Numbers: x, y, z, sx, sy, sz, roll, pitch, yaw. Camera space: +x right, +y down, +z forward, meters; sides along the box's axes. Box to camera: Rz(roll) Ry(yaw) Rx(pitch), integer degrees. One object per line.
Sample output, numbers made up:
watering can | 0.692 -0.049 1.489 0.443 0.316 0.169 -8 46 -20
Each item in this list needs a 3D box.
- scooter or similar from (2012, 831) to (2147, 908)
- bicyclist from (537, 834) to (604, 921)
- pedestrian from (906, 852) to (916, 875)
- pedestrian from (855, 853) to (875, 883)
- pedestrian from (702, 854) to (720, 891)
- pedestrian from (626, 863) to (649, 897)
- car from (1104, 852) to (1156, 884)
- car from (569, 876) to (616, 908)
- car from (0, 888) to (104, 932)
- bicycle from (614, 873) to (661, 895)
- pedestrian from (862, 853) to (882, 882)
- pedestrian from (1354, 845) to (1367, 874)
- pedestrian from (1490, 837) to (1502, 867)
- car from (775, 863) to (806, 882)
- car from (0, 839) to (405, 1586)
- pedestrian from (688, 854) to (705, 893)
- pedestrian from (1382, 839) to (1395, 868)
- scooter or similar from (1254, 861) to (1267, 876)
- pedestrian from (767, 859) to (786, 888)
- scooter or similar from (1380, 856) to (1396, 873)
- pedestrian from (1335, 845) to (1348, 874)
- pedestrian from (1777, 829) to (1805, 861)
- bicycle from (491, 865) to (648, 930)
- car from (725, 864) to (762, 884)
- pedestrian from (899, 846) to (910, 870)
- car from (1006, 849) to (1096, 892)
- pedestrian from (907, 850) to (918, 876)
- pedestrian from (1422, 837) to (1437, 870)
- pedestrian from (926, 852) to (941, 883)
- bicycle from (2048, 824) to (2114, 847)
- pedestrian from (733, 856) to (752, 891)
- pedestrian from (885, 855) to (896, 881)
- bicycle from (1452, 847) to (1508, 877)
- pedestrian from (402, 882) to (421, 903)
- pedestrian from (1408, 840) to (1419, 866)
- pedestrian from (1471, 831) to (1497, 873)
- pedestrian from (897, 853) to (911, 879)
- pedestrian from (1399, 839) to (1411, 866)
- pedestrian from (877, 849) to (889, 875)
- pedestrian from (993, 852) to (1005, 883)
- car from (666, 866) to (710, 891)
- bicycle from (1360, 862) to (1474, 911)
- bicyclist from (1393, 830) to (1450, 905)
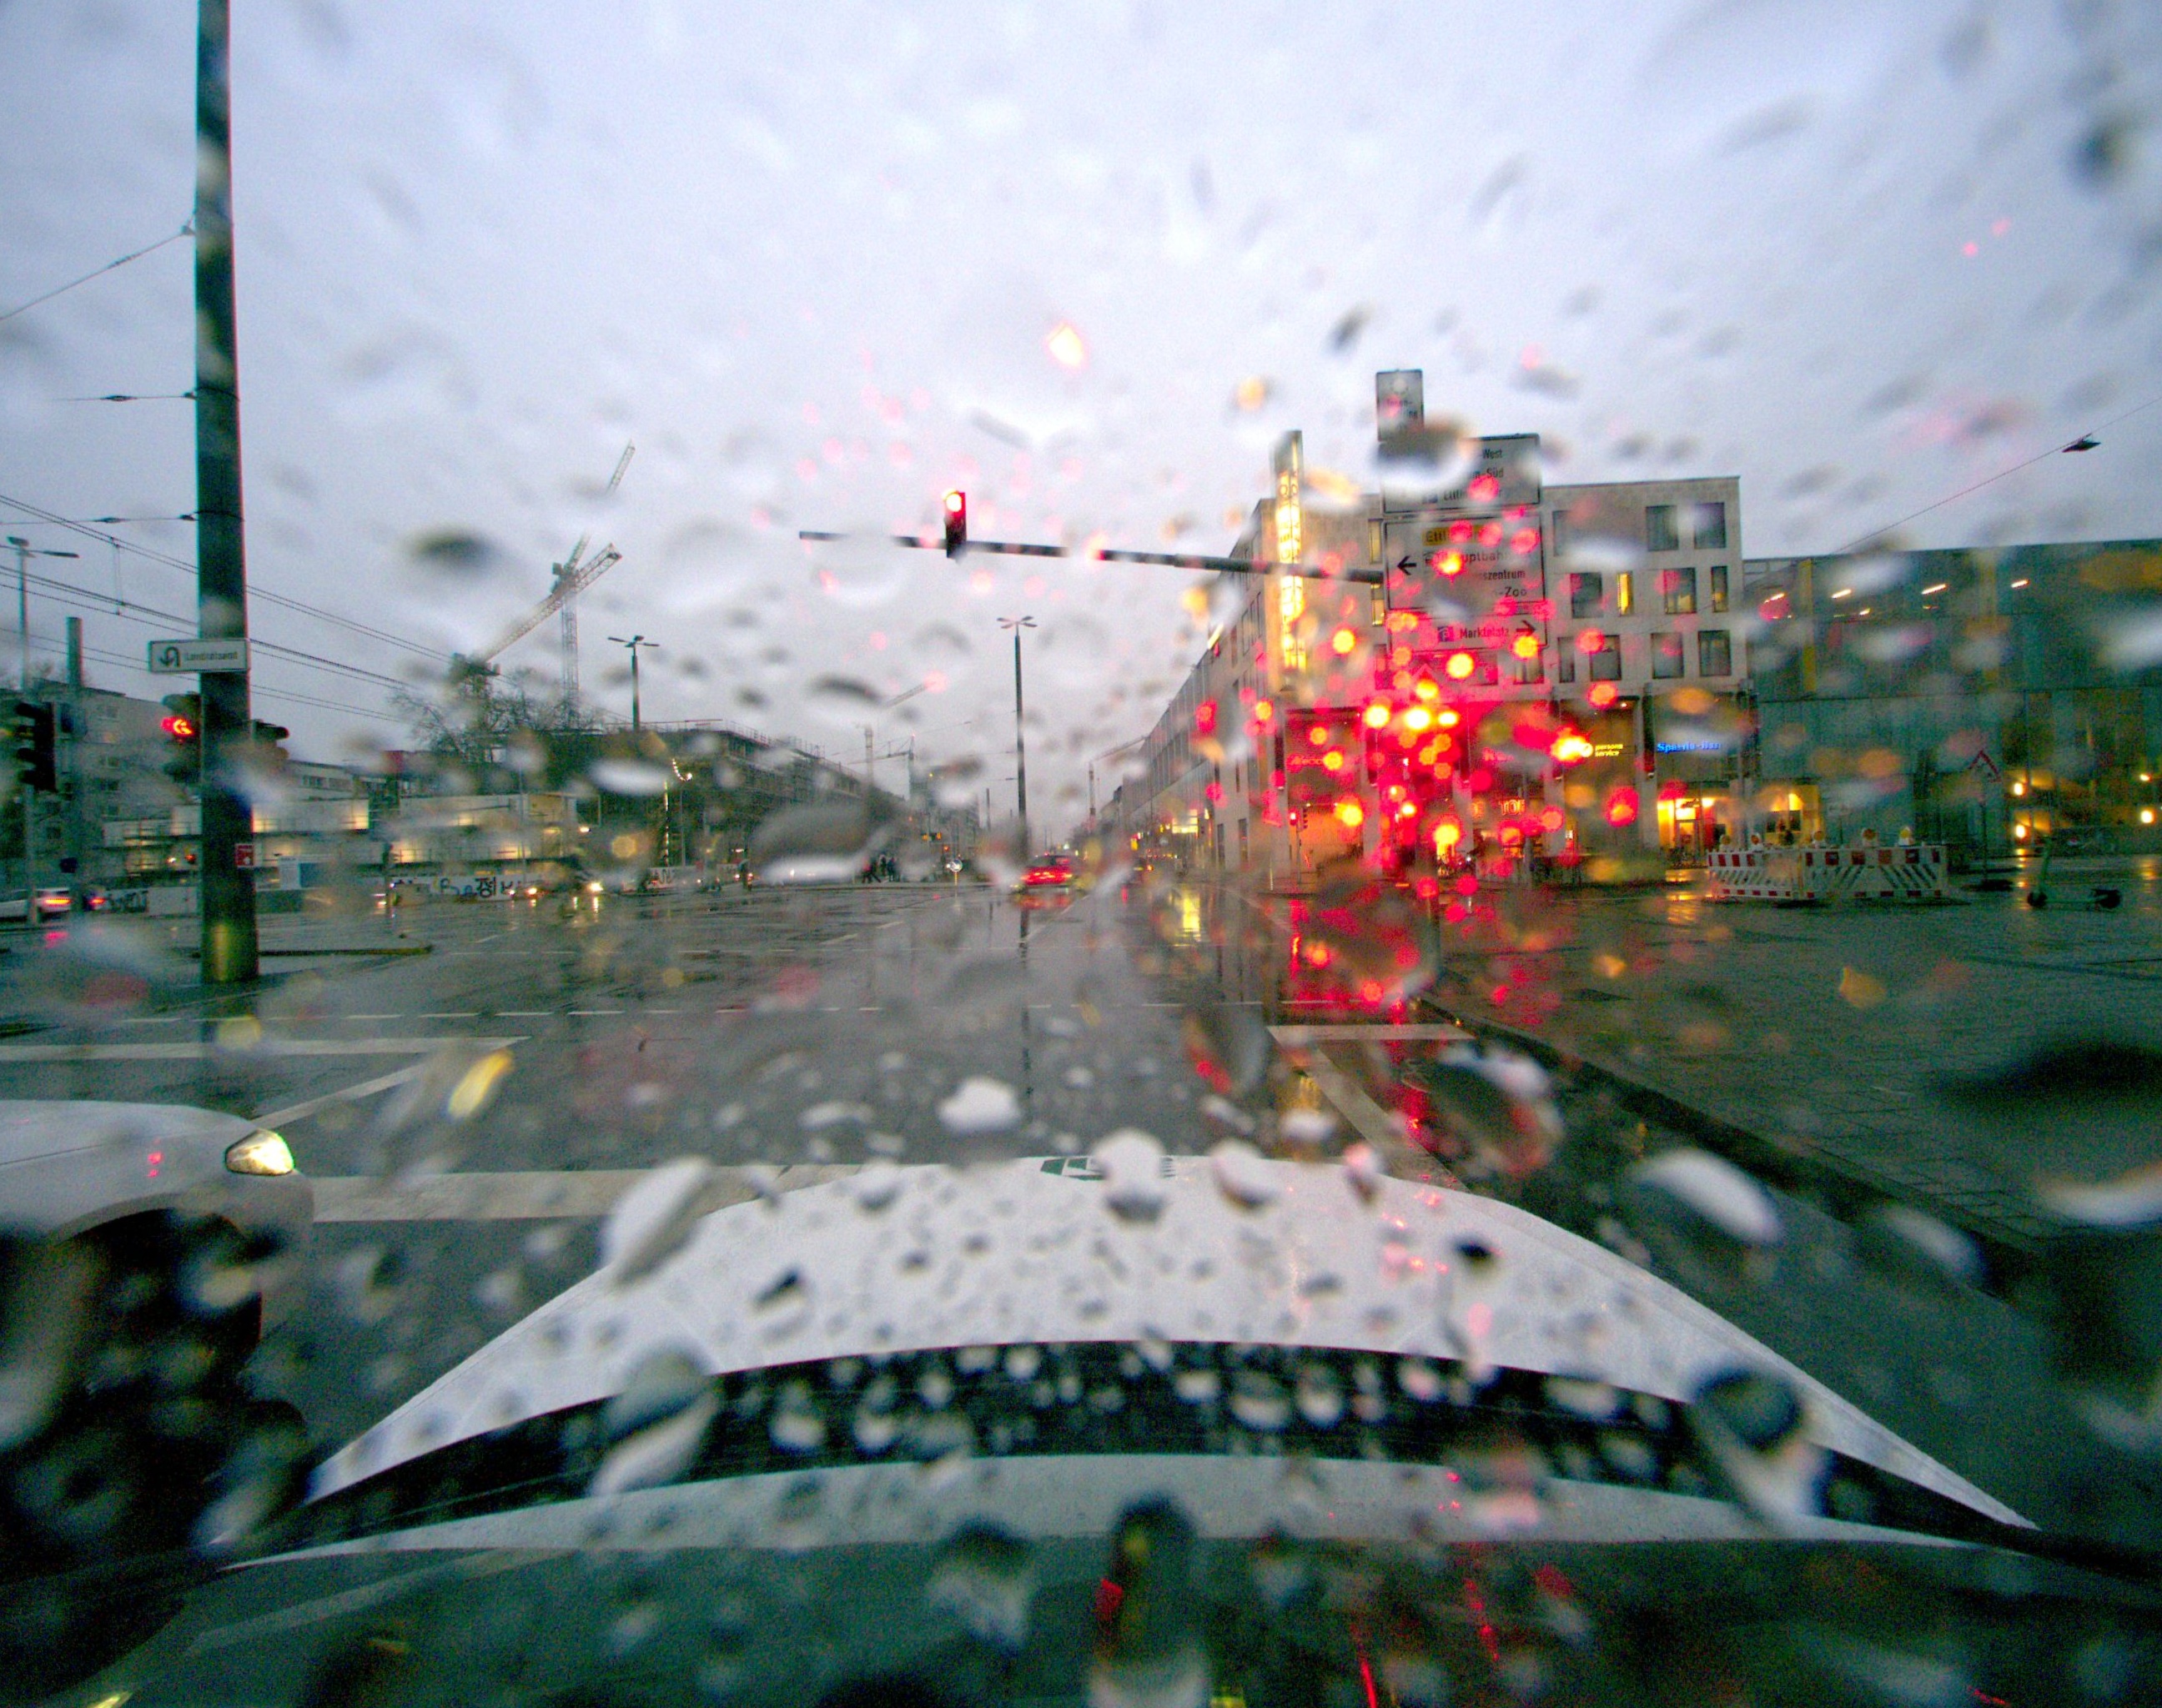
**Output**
scooter or similar | 15.773 0.234 12.905 0.603 1.130 1.236 -2 0 2
bicyclist | -11.083 0.508 17.710 0.993 1.839 0.719 0 -1 -8
pedestrian | -12.864 0.729 61.501 0.610 1.746 0.620 -2 -1 -4
pedestrian | -12.342 0.793 46.523 0.824 1.679 0.622 -2 -1 20
pedestrian | -20.488 1.044 45.099 0.781 2.013 0.606 -2 -1 -37
pedestrian | -21.239 1.250 39.009 0.809 1.570 0.538 -3 -4 13
car | 2.582 0.737 43.635 1.973 1.530 3.988 -2 0 -8
car | -33.559 2.577 56.054 1.760 2.013 3.977 -2 0 -17
car | -46.750 2.526 36.393 4.284 1.761 1.709 -2 0 4
bicycle | -21.231 1.435 38.988 2.113 0.992 0.543 -1 -5 13
pedestrian | -12.092 0.781 47.182 0.835 1.688 0.681 -2 -1 23
pedestrian | 17.046 0.320 49.701 0.530 1.718 0.505 -3 -1 39
pedestrian | 24.915 -0.101 48.887 0.508 1.760 0.376 -2 -1 18
car | -34.386 2.158 96.465 1.986 2.013 4.002 -2 0 2
car | -3.191 0.757 0.174 1.903 1.520 4.923 -2 0 0
pedestrian | -20.911 1.053 44.289 0.691 2.087 0.606 -2 -1 -39
pedestrian | 18.393 -0.037 48.782 0.530 1.718 0.505 -3 -1 39
scooter or similar | 11.259 0.912 51.150 0.738 0.916 0.401 -2 -1 3
pedestrian | -17.618 1.127 47.139 0.700 1.619 0.684 -2 -1 25
scooter or similar | 18.384 0.632 48.790 0.738 0.993 0.401 -2 -1 3
pedestrian | 15.953 0.335 49.934 0.530 1.718 0.505 -3 -1 39
pedestrian | 36.051 -0.460 41.366 0.791 1.631 0.709 -1 -1 1
bicycle | -11.076 0.924 17.732 2.829 1.362 0.719 0 -1 -8
car | -35.370 2.079 85.398 1.986 2.013 4.002 -2 0 2
pedestrian | -12.725 0.286 58.833 0.660 1.746 0.733 -2 -1 -9
car | -1.201 0.674 33.778 3.555 1.582 1.677 -2 -1 2
pedestrian | -11.599 0.613 56.166 0.617 1.746 0.612 -2 -1 -4
pedestrian | 18.001 -0.033 42.069 0.530 1.685 0.552 -3 -1 39
pedestrian | -8.689 0.804 47.997 0.700 1.760 0.652 -2 -1 1
bicycle | 48.573 -0.895 39.588 0.613 1.033 2.138 -2 0 3
pedestrian | -19.883 1.125 47.798 0.792 2.013 0.745 -2 -1 -9
pedestrian | -12.032 0.886 51.343 0.612 1.619 0.705 -2 -1 -16
bicycle | 15.380 0.298 31.425 1.831 1.093 0.620 -2 -1 16
pedestrian | -49.600 2.843 60.340 0.641 1.529 0.797 -3 -1 5
pedestrian | 22.125 -0.082 54.196 0.530 1.718 0.505 -3 -1 39
pedestrian | 15.524 -0.072 31.397 0.775 1.595 0.616 -2 -1 17
pedestrian | -11.180 0.750 51.301 0.745 1.607 0.807 -2 -1 -18
pedestrian | 20.935 -0.095 52.565 0.530 1.718 0.505 -3 -1 39
pedestrian | -13.457 0.550 55.379 0.614 1.746 0.615 -2 -1 -28
pedestrian | -4.828 0.792 47.970 0.631 1.772 0.484 -2 -1 0
car | -34.608 2.119 71.770 1.988 2.013 3.997 -2 0 -2
bicycle | 7.828 0.747 19.016 2.362 1.033 0.618 -2 -1 3
bicyclist | 7.933 0.307 19.019 1.028 1.697 0.618 -2 -1 4
